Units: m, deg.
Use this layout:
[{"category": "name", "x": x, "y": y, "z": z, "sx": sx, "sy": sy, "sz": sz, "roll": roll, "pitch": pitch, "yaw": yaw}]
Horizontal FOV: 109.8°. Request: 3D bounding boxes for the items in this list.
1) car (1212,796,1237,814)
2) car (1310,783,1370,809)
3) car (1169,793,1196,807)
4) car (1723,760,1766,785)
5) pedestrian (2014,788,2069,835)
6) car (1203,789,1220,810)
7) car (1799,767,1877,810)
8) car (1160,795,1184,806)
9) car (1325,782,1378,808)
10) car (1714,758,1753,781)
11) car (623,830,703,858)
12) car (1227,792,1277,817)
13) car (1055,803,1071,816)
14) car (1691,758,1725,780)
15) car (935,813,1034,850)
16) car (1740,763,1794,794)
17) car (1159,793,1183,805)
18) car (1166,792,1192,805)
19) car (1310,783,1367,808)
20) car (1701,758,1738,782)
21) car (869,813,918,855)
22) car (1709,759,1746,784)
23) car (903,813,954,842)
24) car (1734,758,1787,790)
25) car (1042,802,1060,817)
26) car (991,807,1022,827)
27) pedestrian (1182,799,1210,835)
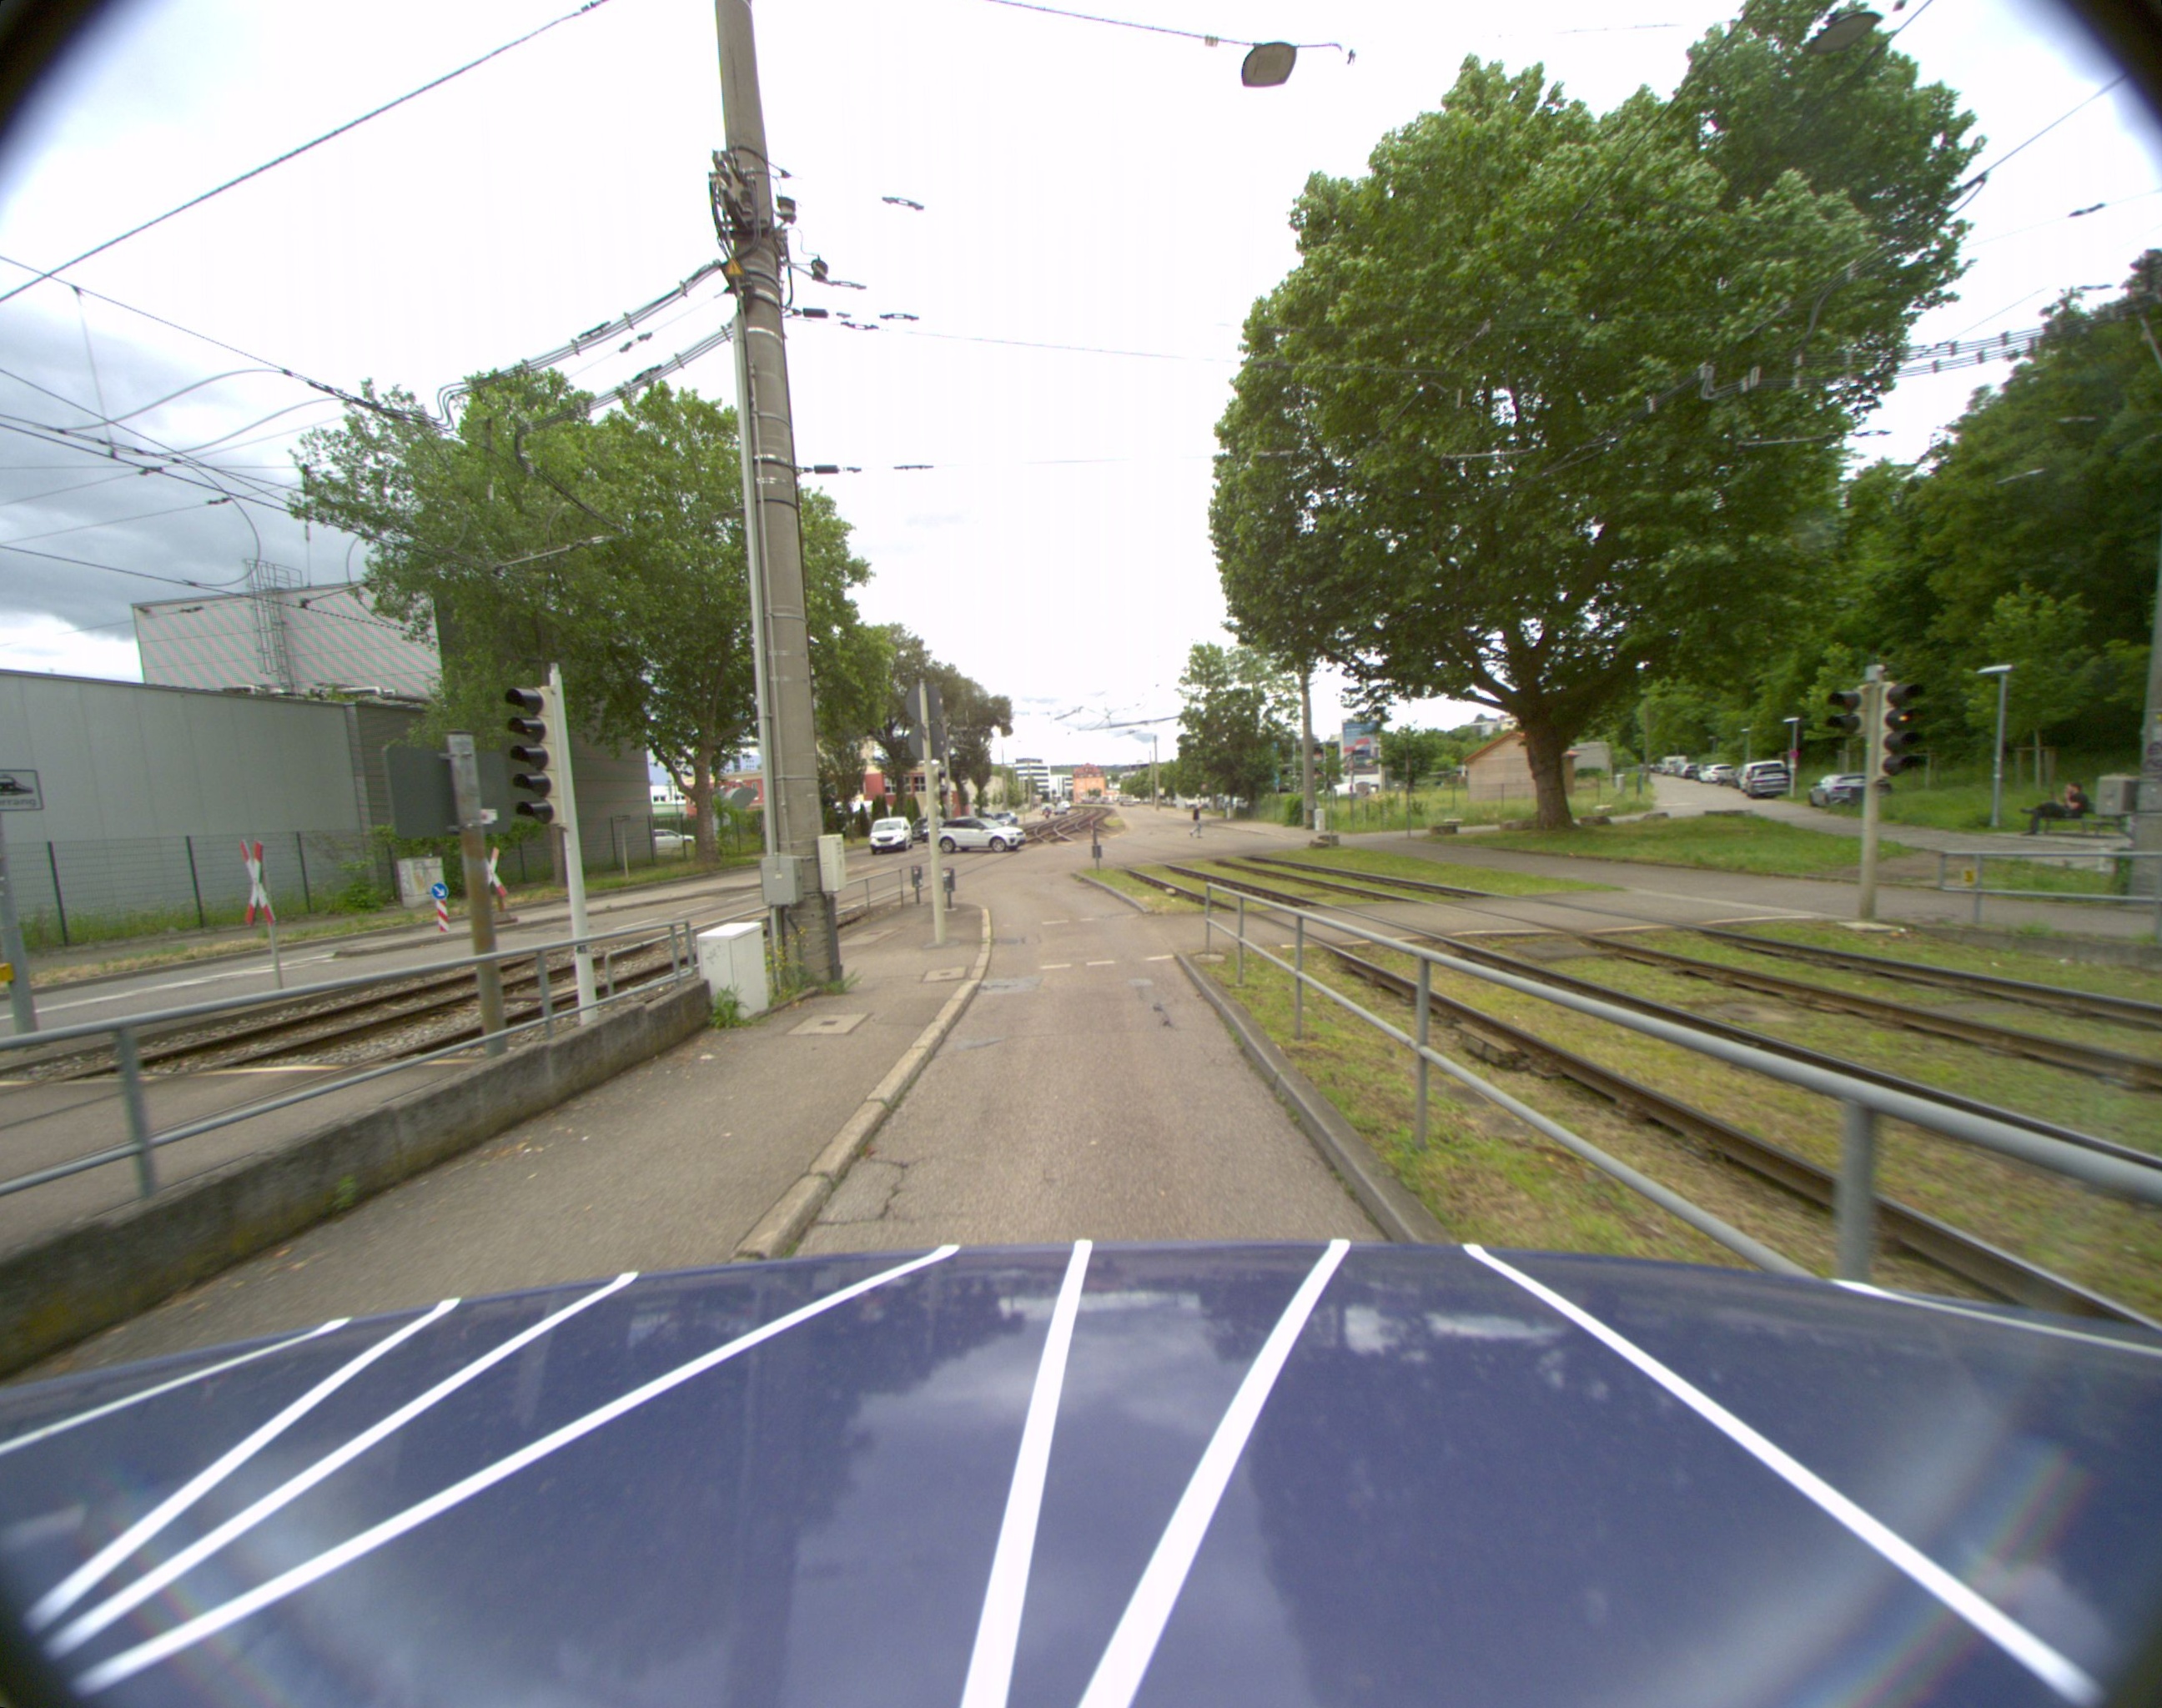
[{"category": "car", "x": 18.652, "y": -6.429, "z": 98.765, "sx": 2.141, "sy": 2.105, "sz": 4.772, "roll": -6, "pitch": 4, "yaw": 1}, {"category": "car", "x": 28.845, "y": -6.427, "z": 84.633, "sx": 5.849, "sy": 2.256, "sz": 2.055, "roll": -4, "pitch": 5, "yaw": 29}, {"category": "car", "x": 19.172, "y": -10.246, "z": 144.214, "sx": 4.636, "sy": 2.198, "sz": 2.107, "roll": -6, "pitch": 5, "yaw": 0}, {"category": "car", "x": 44.369, "y": -5.484, "z": 50.873, "sx": 1.753, "sy": 1.370, "sz": 3.685, "roll": -3, "pitch": 5, "yaw": 35}, {"category": "pedestrian", "x": 21.708, "y": -0.972, "z": 17.186, "sx": 0.531, "sy": 0.984, "sz": 0.620, "roll": -4, "pitch": 5, "yaw": 23}, {"category": "car", "x": 21.668, "y": -9.086, "z": 126.223, "sx": 2.319, "sy": 2.996, "sz": 6.156, "roll": -6, "pitch": 4, "yaw": 7}, {"category": "car", "x": 31.473, "y": -2.758, "z": 31.687, "sx": 1.696, "sy": 1.417, "sz": 3.507, "roll": -3, "pitch": 5, "yaw": 35}, {"category": "car", "x": 19.303, "y": -11.446, "z": 161.148, "sx": 4.636, "sy": 1.831, "sz": 2.107, "roll": -6, "pitch": 5, "yaw": 0}, {"category": "car", "x": 32.302, "y": -7.017, "z": 90.823, "sx": 5.651, "sy": 2.448, "sz": 1.982, "roll": -4, "pitch": 5, "yaw": 27}, {"category": "car", "x": 47.438, "y": -6.140, "z": 55.272, "sx": 1.753, "sy": 1.370, "sz": 3.685, "roll": -3, "pitch": 5, "yaw": 35}, {"category": "car", "x": -30.097, "y": -0.747, "z": 54.887, "sx": 1.994, "sy": 1.657, "sz": 4.507, "roll": 0, "pitch": 6, "yaw": 35}, {"category": "car", "x": 19.952, "y": -5.786, "z": 88.702, "sx": 5.266, "sy": 2.256, "sz": 1.999, "roll": -6, "pitch": 5, "yaw": 5}, {"category": "car", "x": -2.714, "y": -6.777, "z": 114.937, "sx": 1.868, "sy": 1.741, "sz": 3.997, "roll": -6, "pitch": 4, "yaw": 3}, {"category": "car", "x": 54.394, "y": -7.419, "z": 65.939, "sx": 1.753, "sy": 1.605, "sz": 3.684, "roll": -3, "pitch": 5, "yaw": 32}, {"category": "car", "x": -4.651, "y": -1.081, "z": 36.714, "sx": 4.259, "sy": 1.681, "sz": 2.002, "roll": -1, "pitch": 3, "yaw": 19}, {"category": "car", "x": 37.374, "y": -4.139, "z": 41.462, "sx": 1.696, "sy": 1.417, "sz": 3.507, "roll": -3, "pitch": 5, "yaw": 35}, {"category": "car", "x": 19.407, "y": -11.823, "z": 163.521, "sx": 4.636, "sy": 2.198, "sz": 2.107, "roll": -6, "pitch": 5, "yaw": 0}, {"category": "car", "x": 19.174, "y": -10.897, "z": 149.438, "sx": 4.636, "sy": 2.198, "sz": 2.107, "roll": -6, "pitch": 5, "yaw": 0}, {"category": "car", "x": 29.914, "y": -6.816, "z": 88.236, "sx": 5.838, "sy": 2.256, "sz": 2.055, "roll": -4, "pitch": 5, "yaw": 29}, {"category": "car", "x": 52.107, "y": -6.879, "z": 62.066, "sx": 1.753, "sy": 1.605, "sz": 3.684, "roll": -3, "pitch": 5, "yaw": 32}, {"category": "car", "x": -10.082, "y": -1.150, "z": 41.190, "sx": 2.000, "sy": 1.992, "sz": 5.027, "roll": -5, "pitch": 4, "yaw": -9}, {"category": "car", "x": 49.741, "y": -6.356, "z": 58.522, "sx": 1.753, "sy": 1.605, "sz": 3.685, "roll": -3, "pitch": 5, "yaw": 35}, {"category": "car", "x": -10.037, "y": -1.796, "z": 50.528, "sx": 1.998, "sy": 1.548, "sz": 4.558, "roll": -5, "pitch": 5, "yaw": 5}, {"category": "car", "x": 40.567, "y": -4.818, "z": 45.453, "sx": 1.905, "sy": 1.605, "sz": 3.685, "roll": -3, "pitch": 5, "yaw": 35}, {"category": "car", "x": -3.852, "y": -5.773, "z": 98.086, "sx": 1.868, "sy": 1.741, "sz": 3.997, "roll": -6, "pitch": 4, "yaw": 3}, {"category": "car", "x": -7.063, "y": -3.575, "z": 72.516, "sx": 1.998, "sy": 1.548, "sz": 4.558, "roll": -5, "pitch": 5, "yaw": 5}, {"category": "pedestrian", "x": 5.980, "y": -1.923, "z": 39.651, "sx": 1.120, "sy": 1.751, "sz": 0.812, "roll": -6, "pitch": 5, "yaw": -7}]
